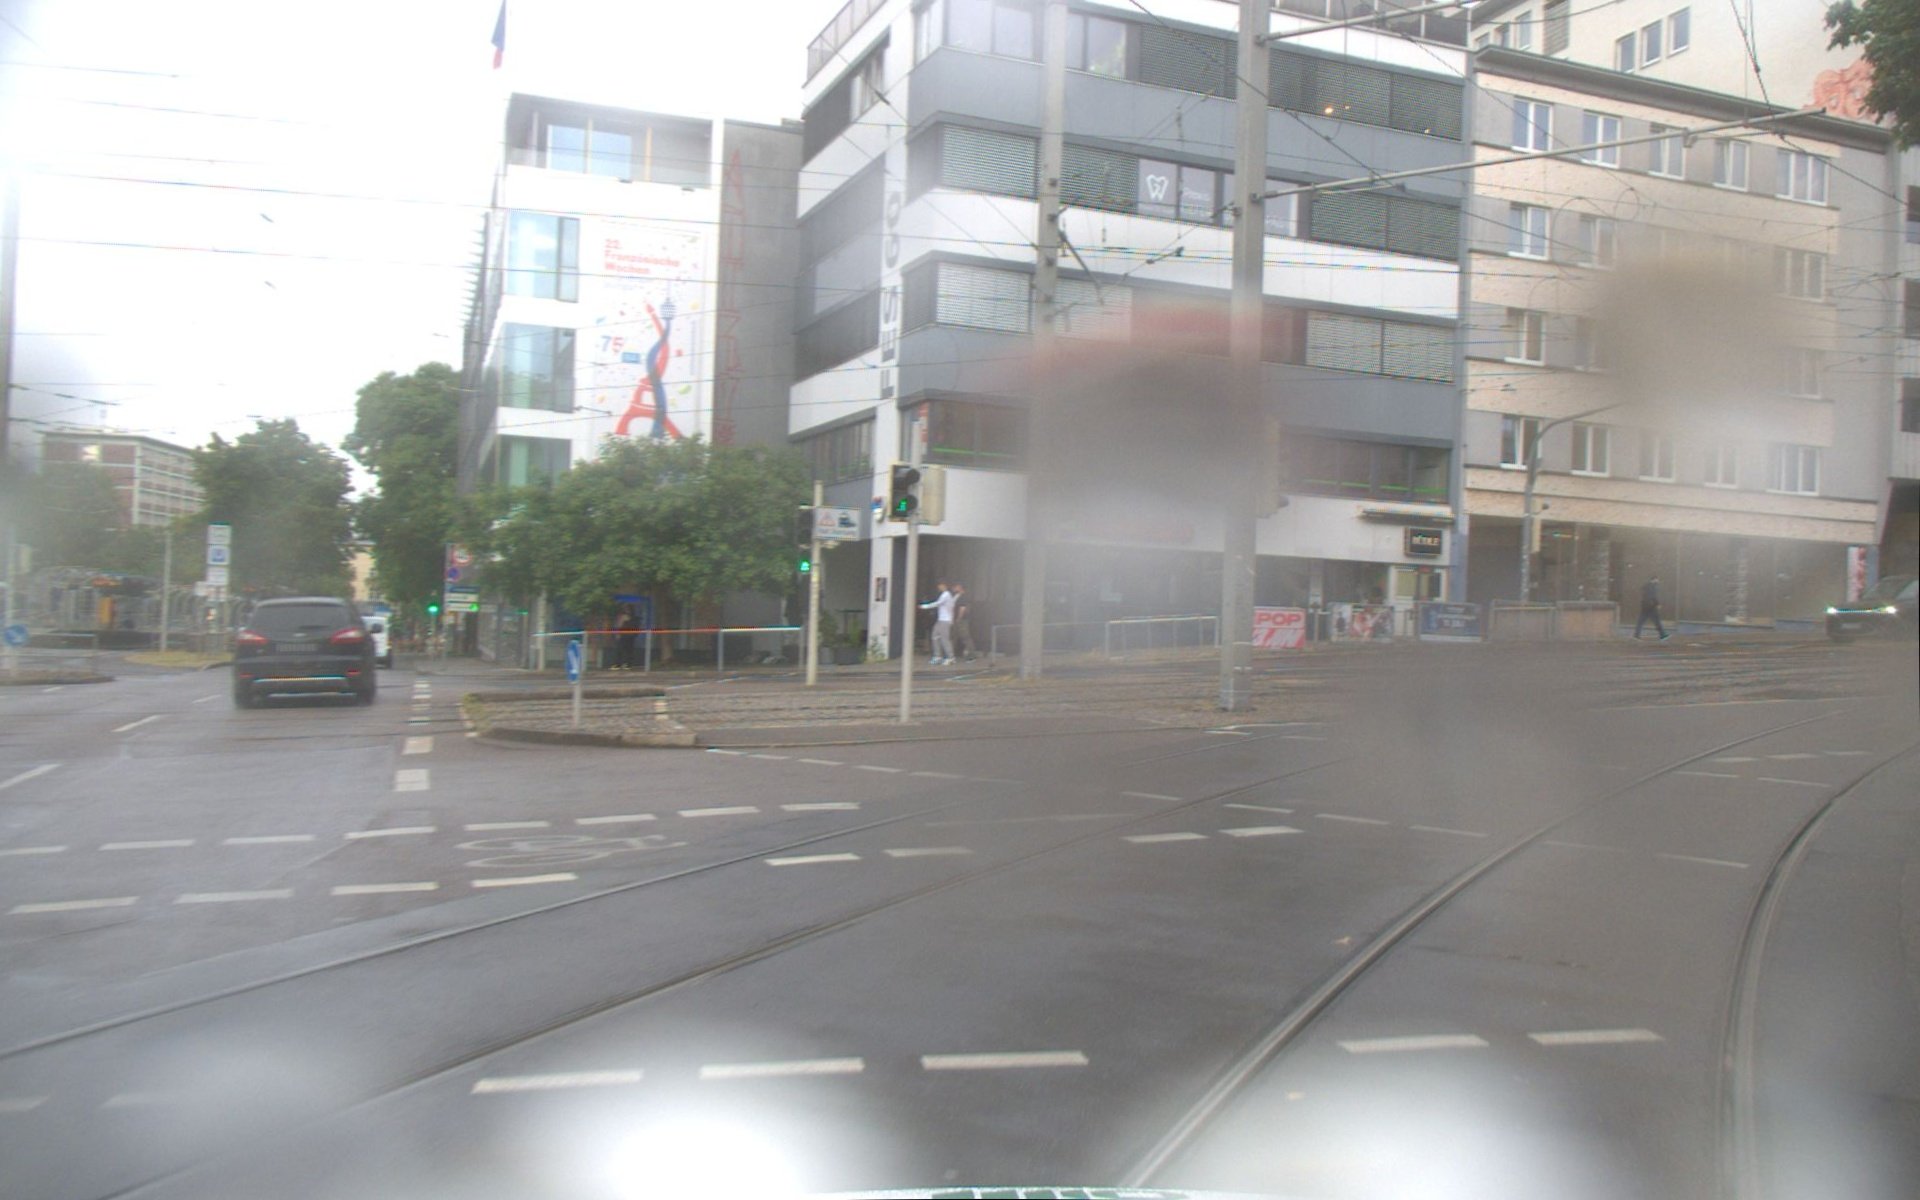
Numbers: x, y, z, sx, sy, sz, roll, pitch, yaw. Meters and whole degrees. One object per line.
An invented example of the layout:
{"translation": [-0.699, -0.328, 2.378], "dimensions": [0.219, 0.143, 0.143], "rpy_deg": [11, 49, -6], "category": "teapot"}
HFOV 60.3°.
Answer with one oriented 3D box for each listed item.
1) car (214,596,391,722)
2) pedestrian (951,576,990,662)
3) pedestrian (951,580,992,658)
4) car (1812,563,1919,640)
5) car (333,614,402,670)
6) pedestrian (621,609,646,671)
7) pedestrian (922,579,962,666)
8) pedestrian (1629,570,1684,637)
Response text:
{"translation": [-9.393, 0.791, 23.945], "dimensions": [2.004, 1.612, 4.370], "rpy_deg": [2, 0, -18], "category": "car"}
{"translation": [0.242, 0.439, 38.052], "dimensions": [0.702, 1.947, 0.698], "rpy_deg": [0, -1, 20], "category": "pedestrian"}
{"translation": [0.273, 0.443, 38.824], "dimensions": [0.703, 1.792, 0.697], "rpy_deg": [0, -1, 27], "category": "pedestrian"}
{"translation": [22.374, -0.004, 38.608], "dimensions": [4.448, 1.702, 1.987], "rpy_deg": [-1, 0, -22], "category": "car"}
{"translation": [-21.742, 1.518, 60.831], "dimensions": [2.003, 1.872, 4.373], "rpy_deg": [2, 0, -16], "category": "car"}
{"translation": [-8.402, 1.024, 42.576], "dimensions": [0.530, 1.590, 0.521], "rpy_deg": [0, 0, 2], "category": "pedestrian"}
{"translation": [-0.400, 0.497, 37.478], "dimensions": [0.702, 1.947, 0.698], "rpy_deg": [0, -1, 20], "category": "pedestrian"}
{"translation": [18.156, 0.087, 43.132], "dimensions": [0.981, 1.710, 0.885], "rpy_deg": [-1, 0, -20], "category": "pedestrian"}
